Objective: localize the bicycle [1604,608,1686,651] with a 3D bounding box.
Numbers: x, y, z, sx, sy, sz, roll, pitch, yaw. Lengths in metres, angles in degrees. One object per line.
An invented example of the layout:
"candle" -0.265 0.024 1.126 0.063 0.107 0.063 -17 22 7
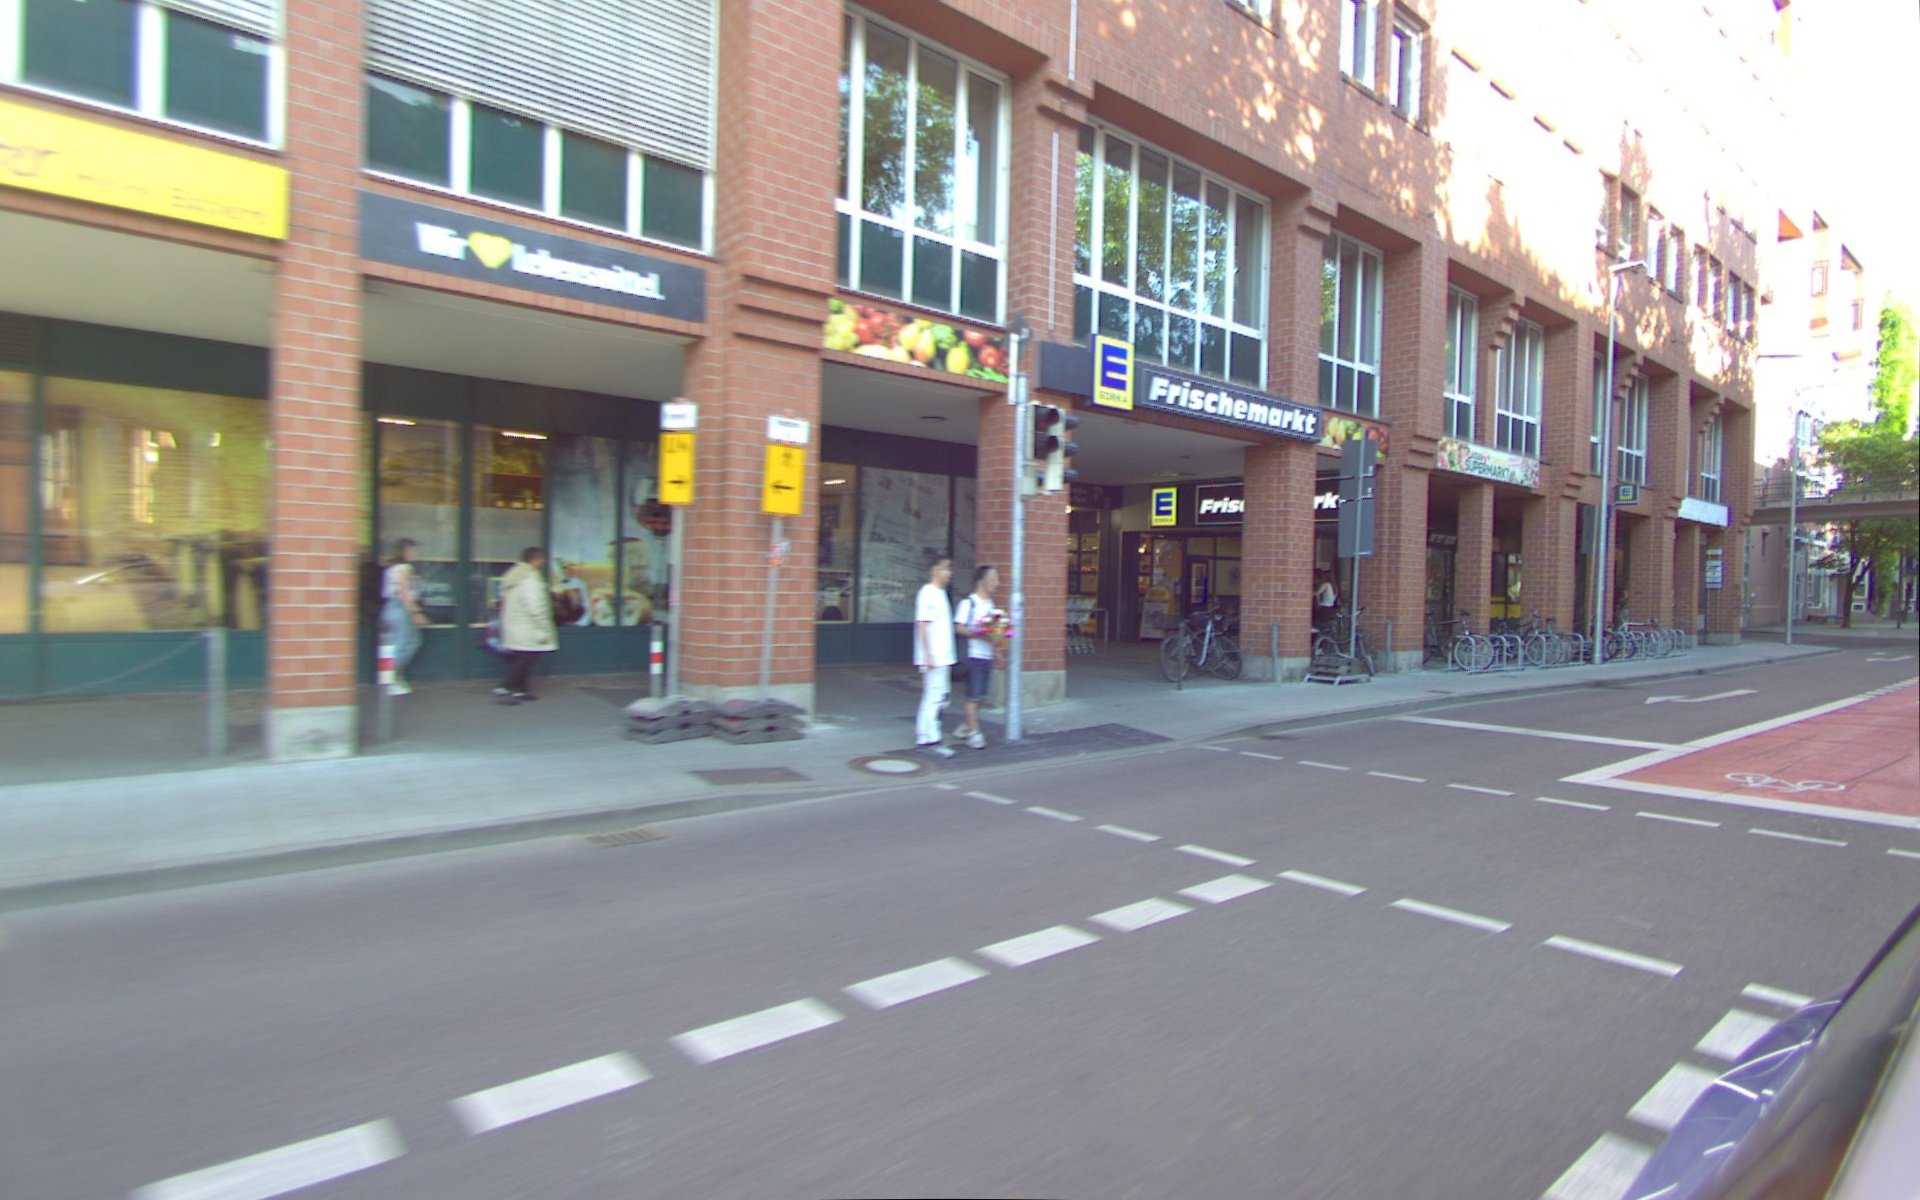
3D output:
"bicycle" 17.623 0.742 26.055 0.545 0.966 1.617 1 4 -37

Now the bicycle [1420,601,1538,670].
"bicycle" 9.558 0.629 18.713 0.466 1.133 1.896 0 2 -39

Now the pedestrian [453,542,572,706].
"pedestrian" -4.628 0.227 10.503 0.832 1.609 0.752 1 1 11

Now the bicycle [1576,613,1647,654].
"bicycle" 15.628 0.800 24.303 0.417 0.851 1.338 1 4 -37

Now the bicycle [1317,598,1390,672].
"bicycle" 6.674 0.576 17.119 1.648 1.198 0.340 1 1 -39

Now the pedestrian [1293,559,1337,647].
"pedestrian" 7.525 0.050 21.453 0.599 1.818 0.659 1 1 -44

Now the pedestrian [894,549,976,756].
"pedestrian" -0.228 0.454 9.242 0.531 1.815 0.477 1 1 -40

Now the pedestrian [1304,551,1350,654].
"pedestrian" 7.435 0.032 20.511 0.607 2.039 0.650 2 1 45

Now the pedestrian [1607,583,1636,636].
"pedestrian" 21.175 0.299 32.407 0.764 1.653 0.570 0 0 -41

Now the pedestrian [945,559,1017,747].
"pedestrian" 0.213 0.487 9.809 0.619 1.746 0.635 1 1 5

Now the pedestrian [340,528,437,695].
"pedestrian" -6.030 0.109 10.686 0.783 1.683 0.601 1 1 -40

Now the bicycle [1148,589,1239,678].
"bicycle" 3.539 0.483 15.271 1.679 1.271 0.340 1 1 -39

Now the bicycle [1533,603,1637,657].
"bicycle" 14.574 0.671 23.646 0.562 1.069 1.940 1 3 -36

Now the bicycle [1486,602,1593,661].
"bicycle" 12.437 0.652 21.769 0.540 1.133 1.896 0 2 -39

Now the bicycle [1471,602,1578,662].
"bicycle" 11.844 0.653 21.284 0.466 1.133 1.896 0 2 -39
